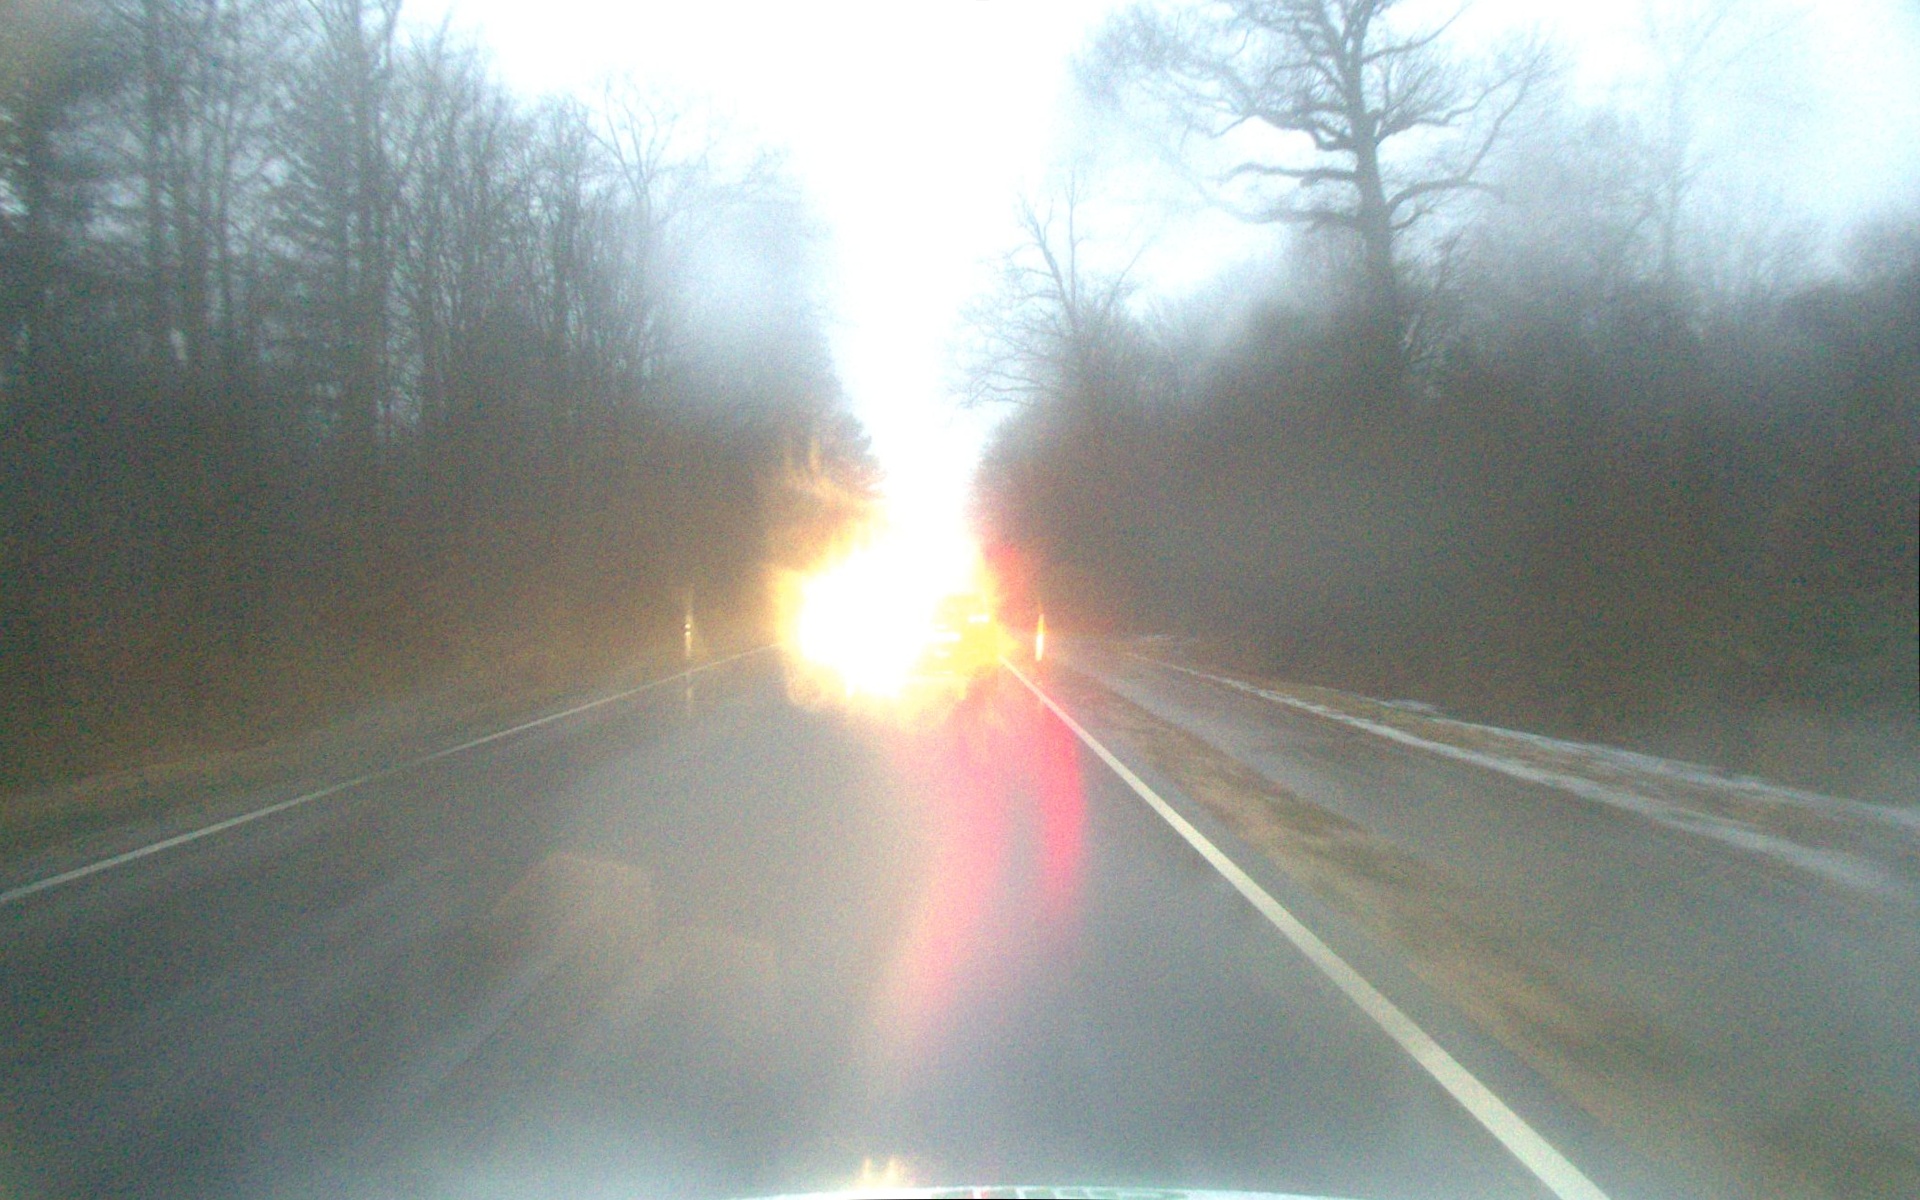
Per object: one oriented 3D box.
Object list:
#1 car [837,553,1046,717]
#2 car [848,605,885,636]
[{"bbox_3d":[-0.272,0.545,28.300,3.118,2.428,6.636,1,0,0],"label":"car"},{"bbox_3d":[-4.656,0.997,82.565,1.657,1.445,3.999,-1,1,-1],"label":"car"}]
